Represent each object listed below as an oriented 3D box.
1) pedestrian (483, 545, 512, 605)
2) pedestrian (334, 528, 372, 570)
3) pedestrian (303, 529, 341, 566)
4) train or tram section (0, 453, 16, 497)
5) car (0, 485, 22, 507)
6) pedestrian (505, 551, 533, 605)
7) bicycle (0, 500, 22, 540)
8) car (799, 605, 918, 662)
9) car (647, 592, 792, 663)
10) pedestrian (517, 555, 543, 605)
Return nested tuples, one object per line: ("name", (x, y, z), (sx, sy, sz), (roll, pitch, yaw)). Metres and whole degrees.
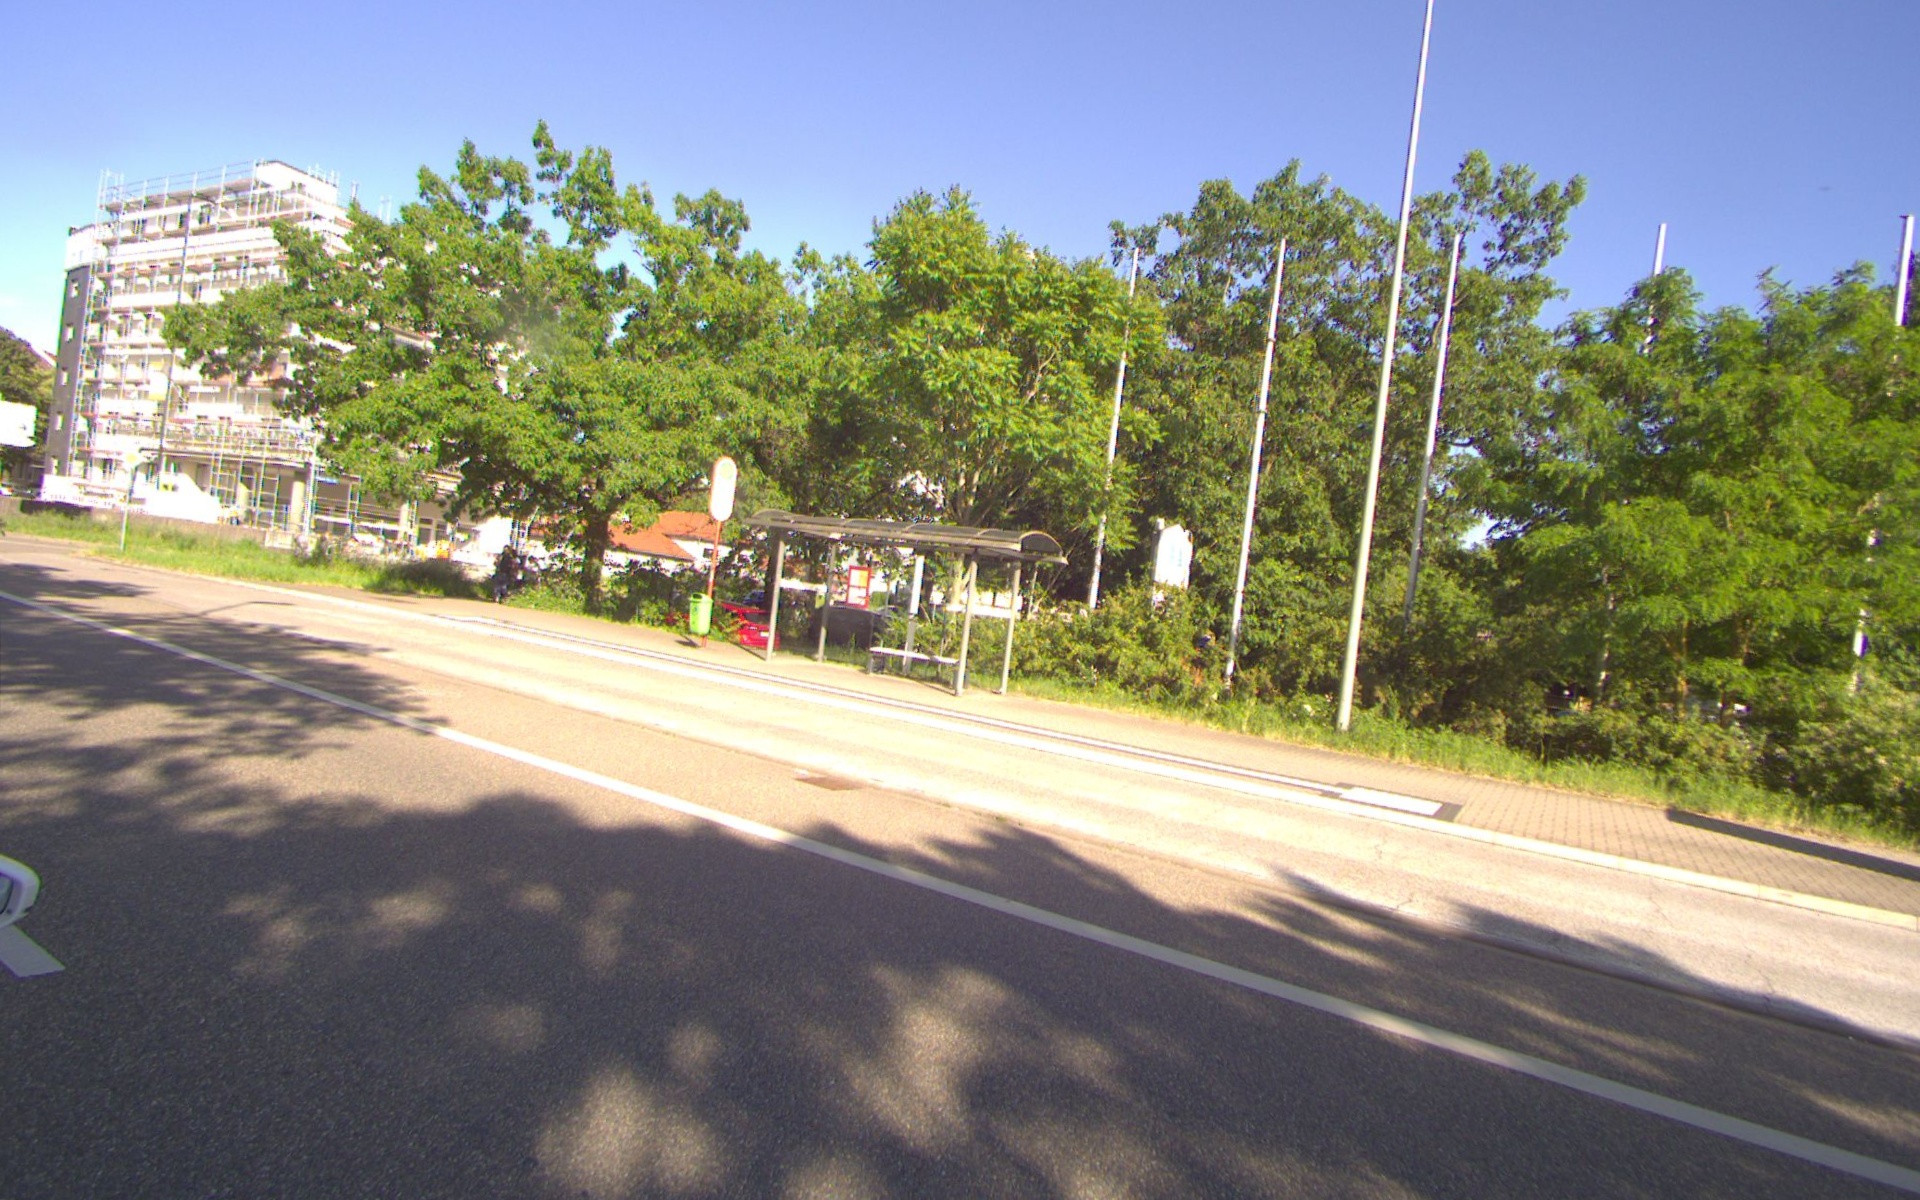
("pedestrian", (-13.044, -0.708, 28.350), (0.517, 1.632, 0.587), (7, 1, -32))
("pedestrian", (-27.190, -2.272, 45.062), (0.970, 1.674, 0.891), (7, 0, 24))
("pedestrian", (-28.061, -2.297, 44.238), (0.948, 1.465, 0.895), (7, 0, 20))
("train or tram section", (-83.431, -10.994, 81.729), (3.266, 3.816, 20.678), (7, 0, -25))
("car", (-66.547, -7.271, 69.998), (1.521, 1.330, 3.250), (7, 0, -40))
("pedestrian", (-12.697, -0.639, 28.955), (0.517, 1.465, 0.587), (7, 1, -32))
("bicycle", (-32.138, -2.767, 32.506), (2.485, 1.212, 0.708), (8, -1, -20))
("car", (-3.590, 1.194, 35.977), (3.674, 1.504, 1.914), (7, 0, 13))
("car", (-6.876, 0.792, 28.743), (3.680, 1.504, 1.755), (7, 0, 28))
("pedestrian", (-13.404, -0.635, 31.326), (0.517, 1.465, 0.587), (7, 1, -32))
